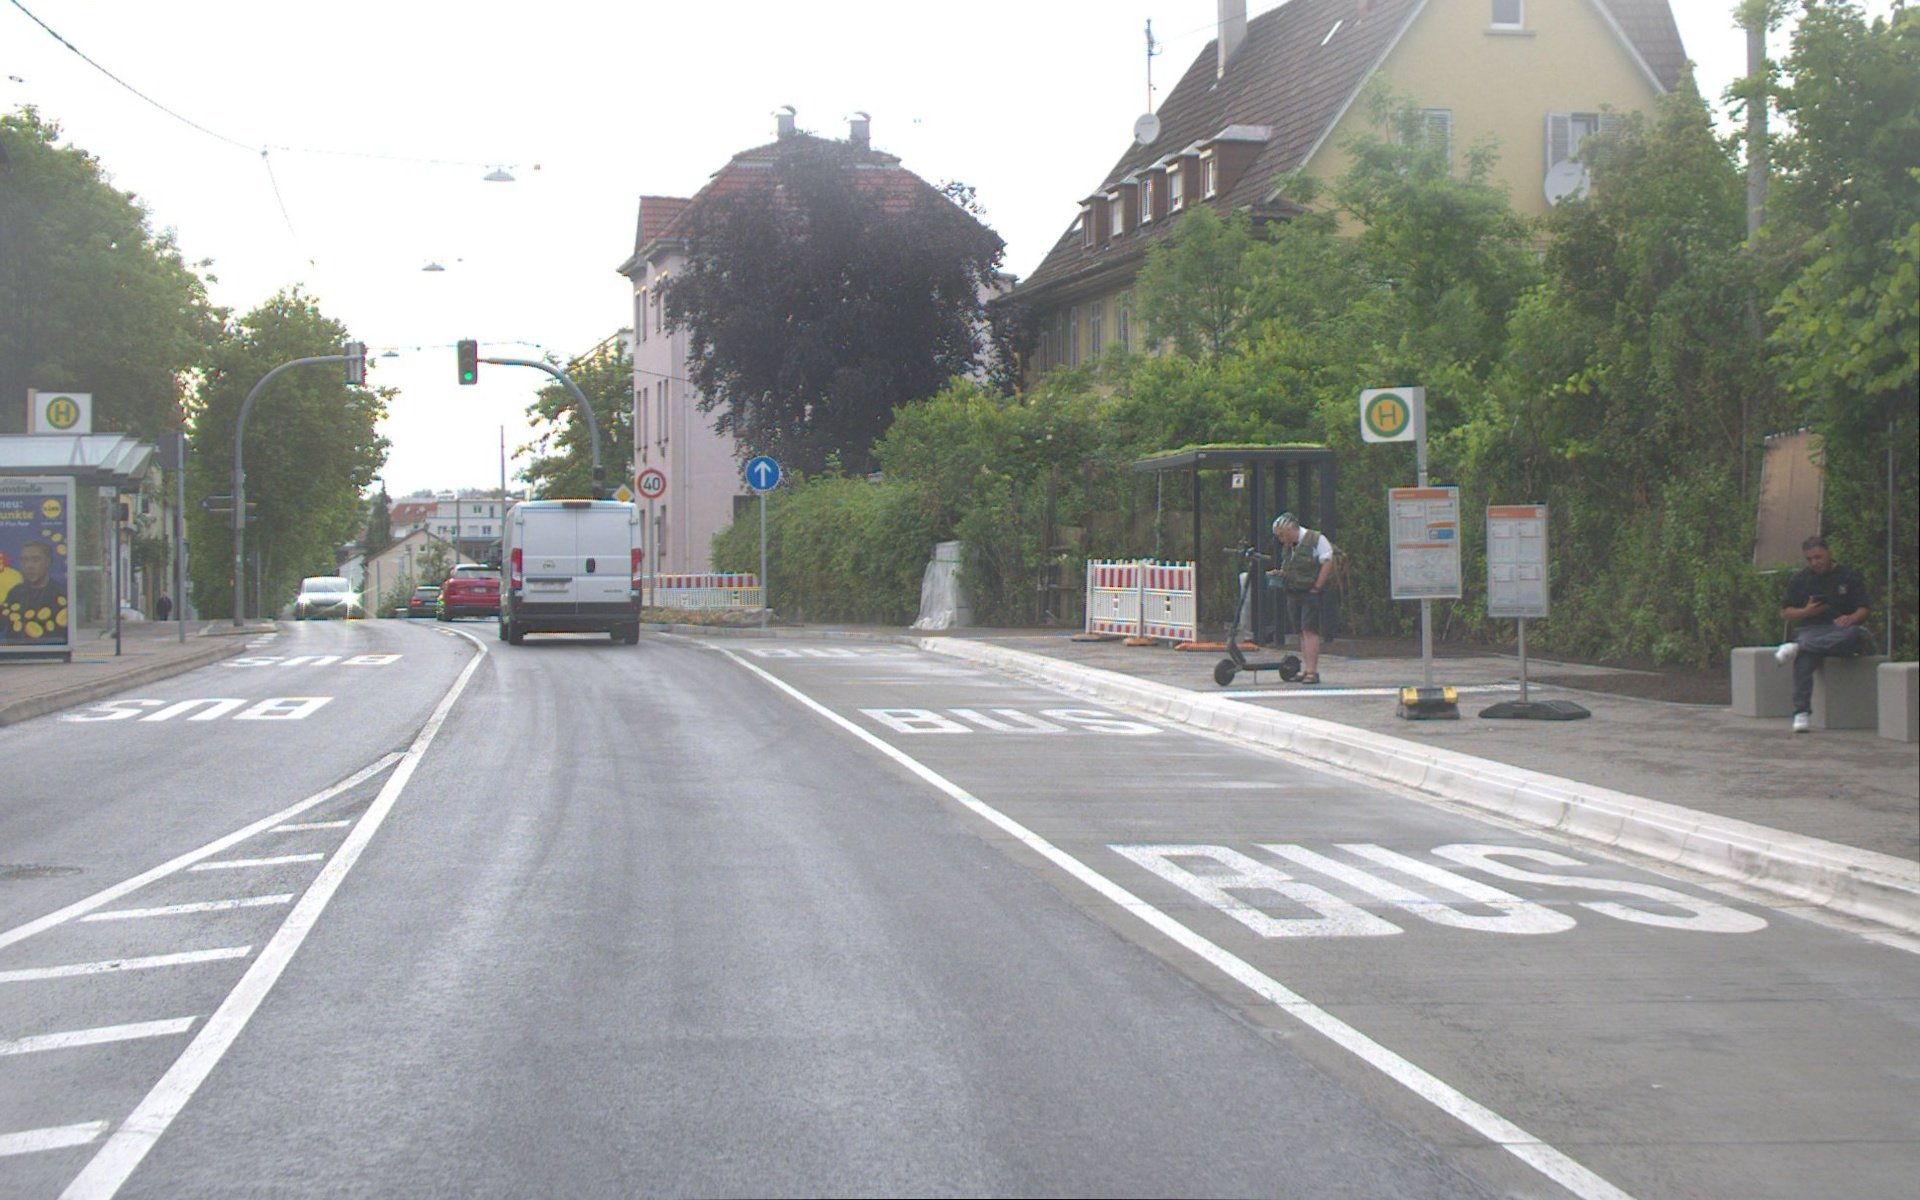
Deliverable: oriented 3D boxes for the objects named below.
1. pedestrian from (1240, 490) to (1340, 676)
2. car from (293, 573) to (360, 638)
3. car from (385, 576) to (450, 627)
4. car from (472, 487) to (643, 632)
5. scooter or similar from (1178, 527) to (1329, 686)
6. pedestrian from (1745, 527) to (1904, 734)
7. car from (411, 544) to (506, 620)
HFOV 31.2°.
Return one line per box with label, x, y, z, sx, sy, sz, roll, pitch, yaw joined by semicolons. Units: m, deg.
pedestrian;3.135;-0.168;32.672;0.906;1.725;0.653;1;3;5
car;-19.819;0.146;107.420;1.993;1.787;4.002;0;3;-11
car;-20.292;0.042;128.421;2.237;1.798;4.715;0;1;-11
car;-6.471;-0.666;54.857;2.237;2.205;4.715;0;1;-12
scooter or similar;2.792;0.048;32.657;1.552;1.401;0.497;-4;5;-42
pedestrian;5.998;0.194;23.909;0.879;1.362;1.065;1;3;5
car;-12.460;-0.472;85.189;2.237;1.651;4.715;0;3;-9
